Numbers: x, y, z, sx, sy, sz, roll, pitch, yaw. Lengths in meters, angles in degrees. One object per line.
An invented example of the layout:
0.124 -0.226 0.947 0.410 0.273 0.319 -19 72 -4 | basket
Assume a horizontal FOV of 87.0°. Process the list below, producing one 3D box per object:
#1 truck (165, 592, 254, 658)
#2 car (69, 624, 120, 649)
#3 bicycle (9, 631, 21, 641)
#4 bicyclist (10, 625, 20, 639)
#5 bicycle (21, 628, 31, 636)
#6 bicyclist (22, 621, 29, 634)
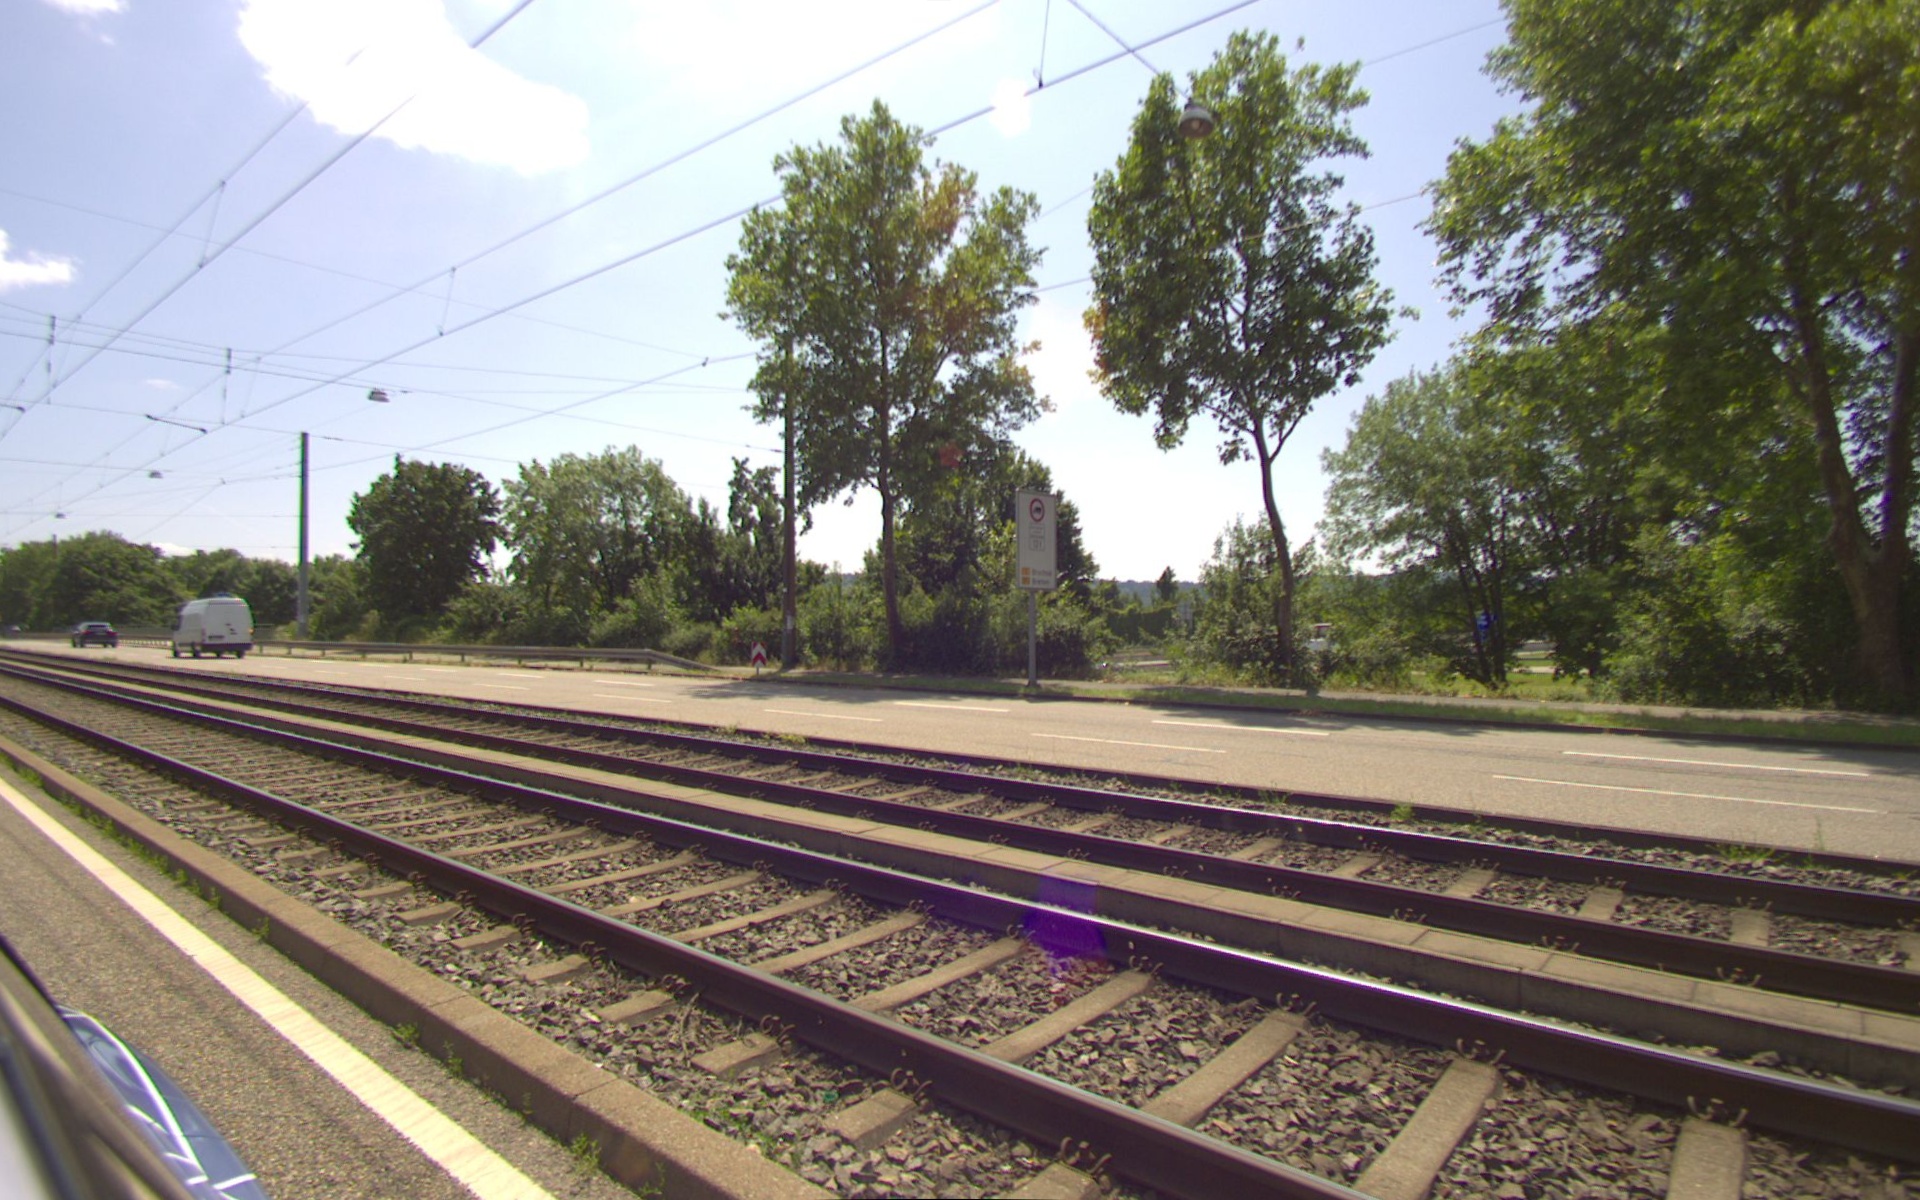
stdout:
-35.986 1.223 48.465 6.316 2.961 2.032 -1 -3 41 | truck
-55.523 2.343 64.892 4.425 1.526 1.799 -1 -3 41 | car
-115.358 4.421 123.505 2.060 1.194 0.848 -1 -1 40 | bicycle
-115.246 3.935 123.413 0.837 1.634 0.755 -1 -1 40 | bicyclist
-106.828 3.690 115.735 2.034 0.849 0.517 -2 0 40 | bicycle
-106.872 3.140 115.762 0.529 1.509 0.515 -2 -1 40 | bicyclist
